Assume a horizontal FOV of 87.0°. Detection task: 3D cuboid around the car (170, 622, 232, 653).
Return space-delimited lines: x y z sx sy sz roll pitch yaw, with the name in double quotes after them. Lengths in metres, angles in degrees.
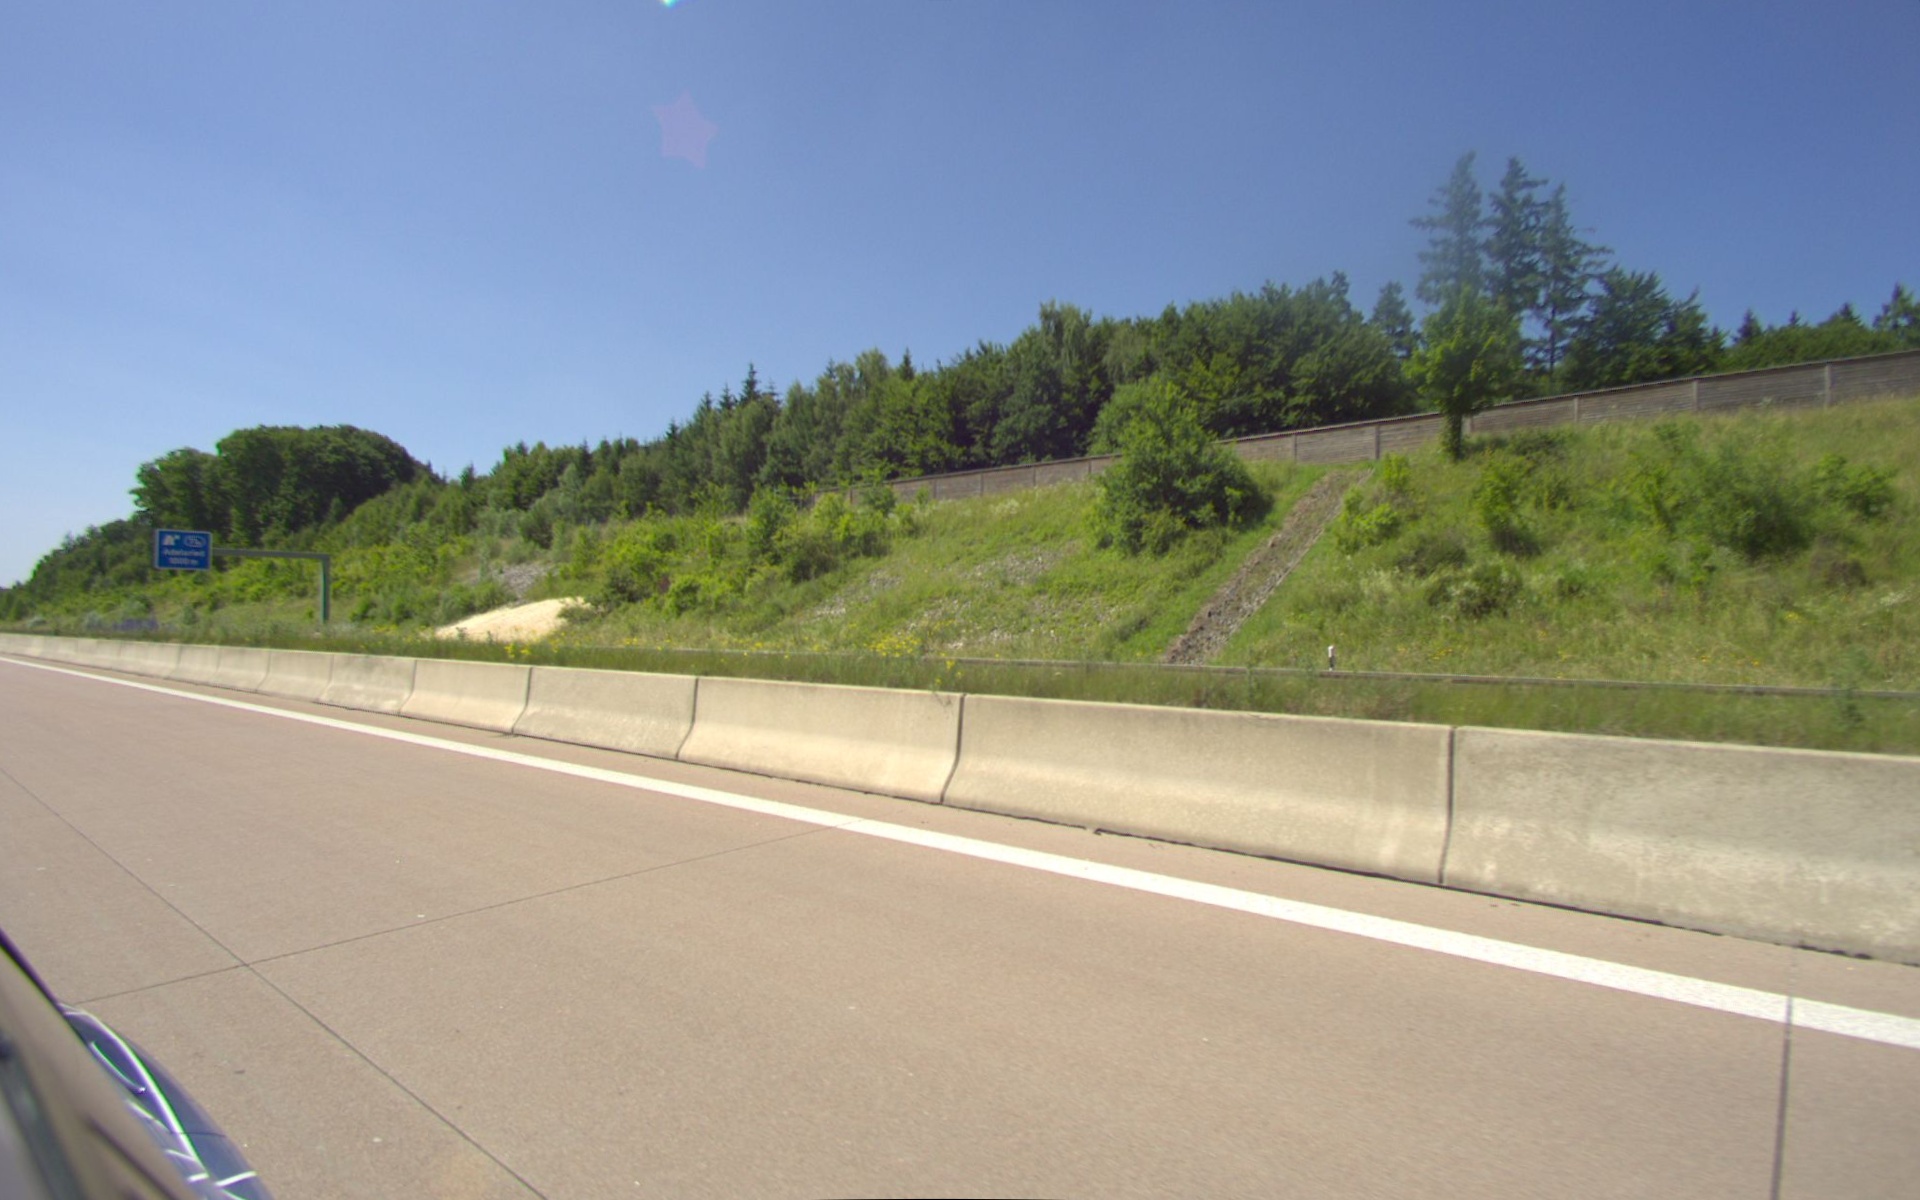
-43.910 2.177 58.510 4.975 1.606 1.871 -3 -2 41 "car"
